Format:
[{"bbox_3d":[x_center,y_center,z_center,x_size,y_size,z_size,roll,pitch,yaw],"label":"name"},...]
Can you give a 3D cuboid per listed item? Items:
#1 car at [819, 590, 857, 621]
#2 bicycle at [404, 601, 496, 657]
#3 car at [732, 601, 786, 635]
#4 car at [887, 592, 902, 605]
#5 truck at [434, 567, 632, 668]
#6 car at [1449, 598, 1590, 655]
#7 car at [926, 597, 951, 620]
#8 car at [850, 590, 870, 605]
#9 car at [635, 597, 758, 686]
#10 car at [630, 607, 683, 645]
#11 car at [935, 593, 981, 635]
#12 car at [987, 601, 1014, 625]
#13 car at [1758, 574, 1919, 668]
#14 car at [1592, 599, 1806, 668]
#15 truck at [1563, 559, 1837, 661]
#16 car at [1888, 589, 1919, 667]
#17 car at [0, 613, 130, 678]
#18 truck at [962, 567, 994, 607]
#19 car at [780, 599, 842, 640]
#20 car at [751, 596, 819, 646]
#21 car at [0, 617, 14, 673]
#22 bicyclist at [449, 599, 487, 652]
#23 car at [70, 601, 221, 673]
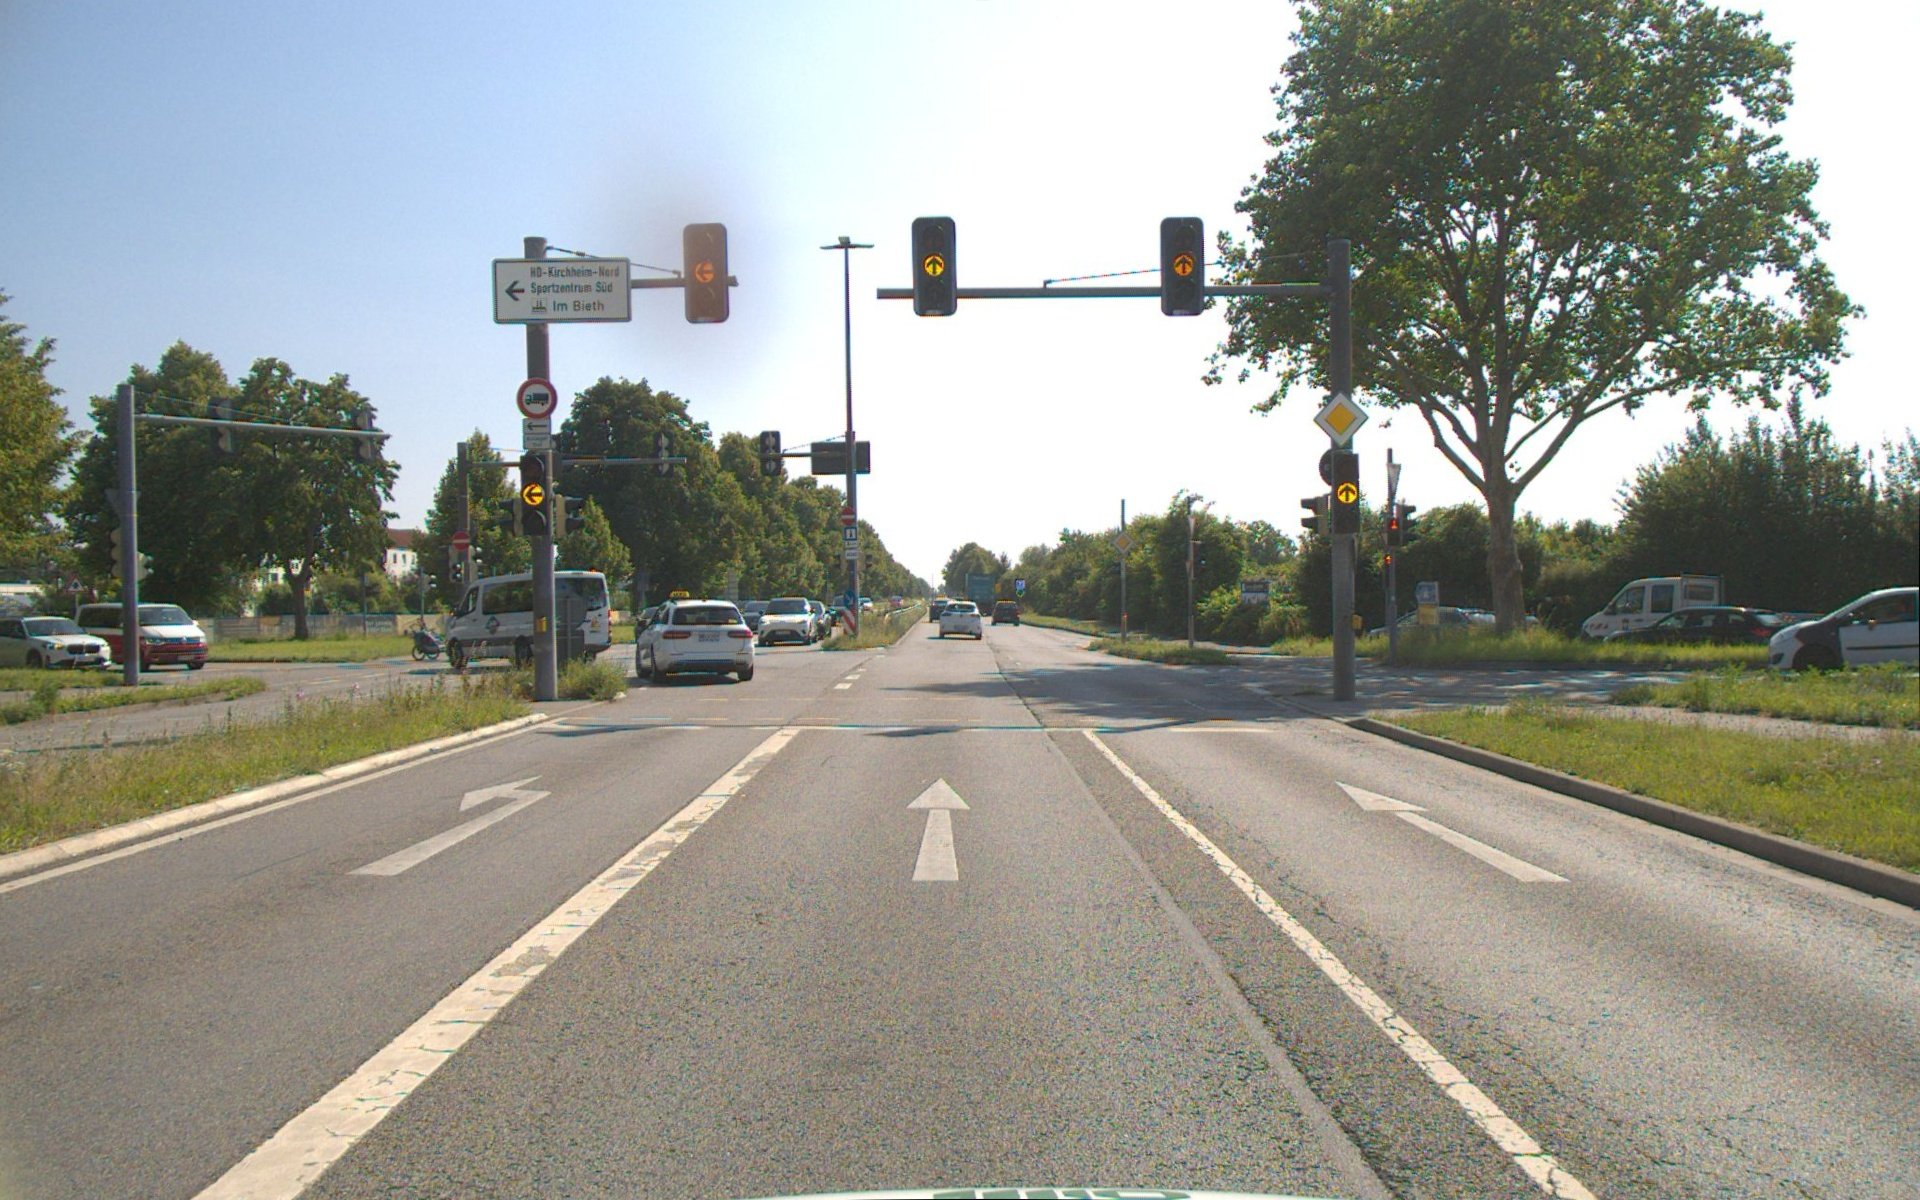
[{"bbox_3d":[-6.665,0.281,90.887,1.809,1.622,4.616,-1,0,-1],"label":"car"},{"bbox_3d":[-16.087,0.920,52.122,2.737,1.699,1.135,-1,0,27],"label":"bicycle"},{"bbox_3d":[-9.303,0.814,76.848,1.890,1.462,4.267,-2,0,1],"label":"car"},{"bbox_3d":[-8.070,-0.147,204.337,1.874,1.528,4.089,-1,0,-2],"label":"car"},{"bbox_3d":[-11.120,0.421,42.744,2.363,2.430,5.943,-1,1,-43],"label":"truck"},{"bbox_3d":[16.267,0.765,48.253,1.599,1.574,3.785,2,-1,-30],"label":"car"},{"bbox_3d":[-1.386,0.513,106.611,1.540,1.439,3.277,-1,0,0],"label":"car"},{"bbox_3d":[-10.473,-0.234,173.774,1.953,1.528,4.089,-1,0,-2],"label":"car"},{"bbox_3d":[-5.069,0.745,31.322,1.783,1.490,4.950,-2,0,-15],"label":"car"},{"bbox_3d":[-12.598,1.059,68.914,1.455,1.439,3.762,-3,0,0],"label":"car"},{"bbox_3d":[-0.050,0.522,65.639,1.762,1.580,4.000,0,1,0],"label":"car"},{"bbox_3d":[2.431,0.779,99.584,1.540,1.439,3.277,0,-1,0],"label":"car"},{"bbox_3d":[15.293,0.337,27.446,3.669,1.495,1.784,0,0,26],"label":"car"},{"bbox_3d":[17.958,0.785,40.388,1.976,1.555,4.416,-1,0,-34],"label":"car"},{"bbox_3d":[19.306,0.286,43.530,2.316,2.428,6.401,2,-2,-33],"label":"truck"},{"bbox_3d":[22.175,0.623,34.649,1.868,1.663,4.406,2,-1,-39],"label":"car"},{"bbox_3d":[-24.585,1.226,44.799,4.181,1.634,1.998,-1,0,35],"label":"car"},{"bbox_3d":[1.646,-1.204,153.720,2.832,3.488,9.168,-1,0,0],"label":"truck"},{"bbox_3d":[-5.789,0.738,64.761,1.779,1.511,4.895,-1,0,2],"label":"car"},{"bbox_3d":[-6.086,0.721,57.941,1.969,1.638,4.210,-1,0,-1],"label":"car"},{"bbox_3d":[-29.798,1.360,48.472,4.181,1.634,1.998,-1,0,35],"label":"car"},{"bbox_3d":[-15.369,0.788,51.708,0.845,1.647,0.757,0,-1,27],"label":"bicyclist"},{"bbox_3d":[-23.780,1.060,48.243,4.560,1.984,1.993,-1,0,35],"label":"car"}]
